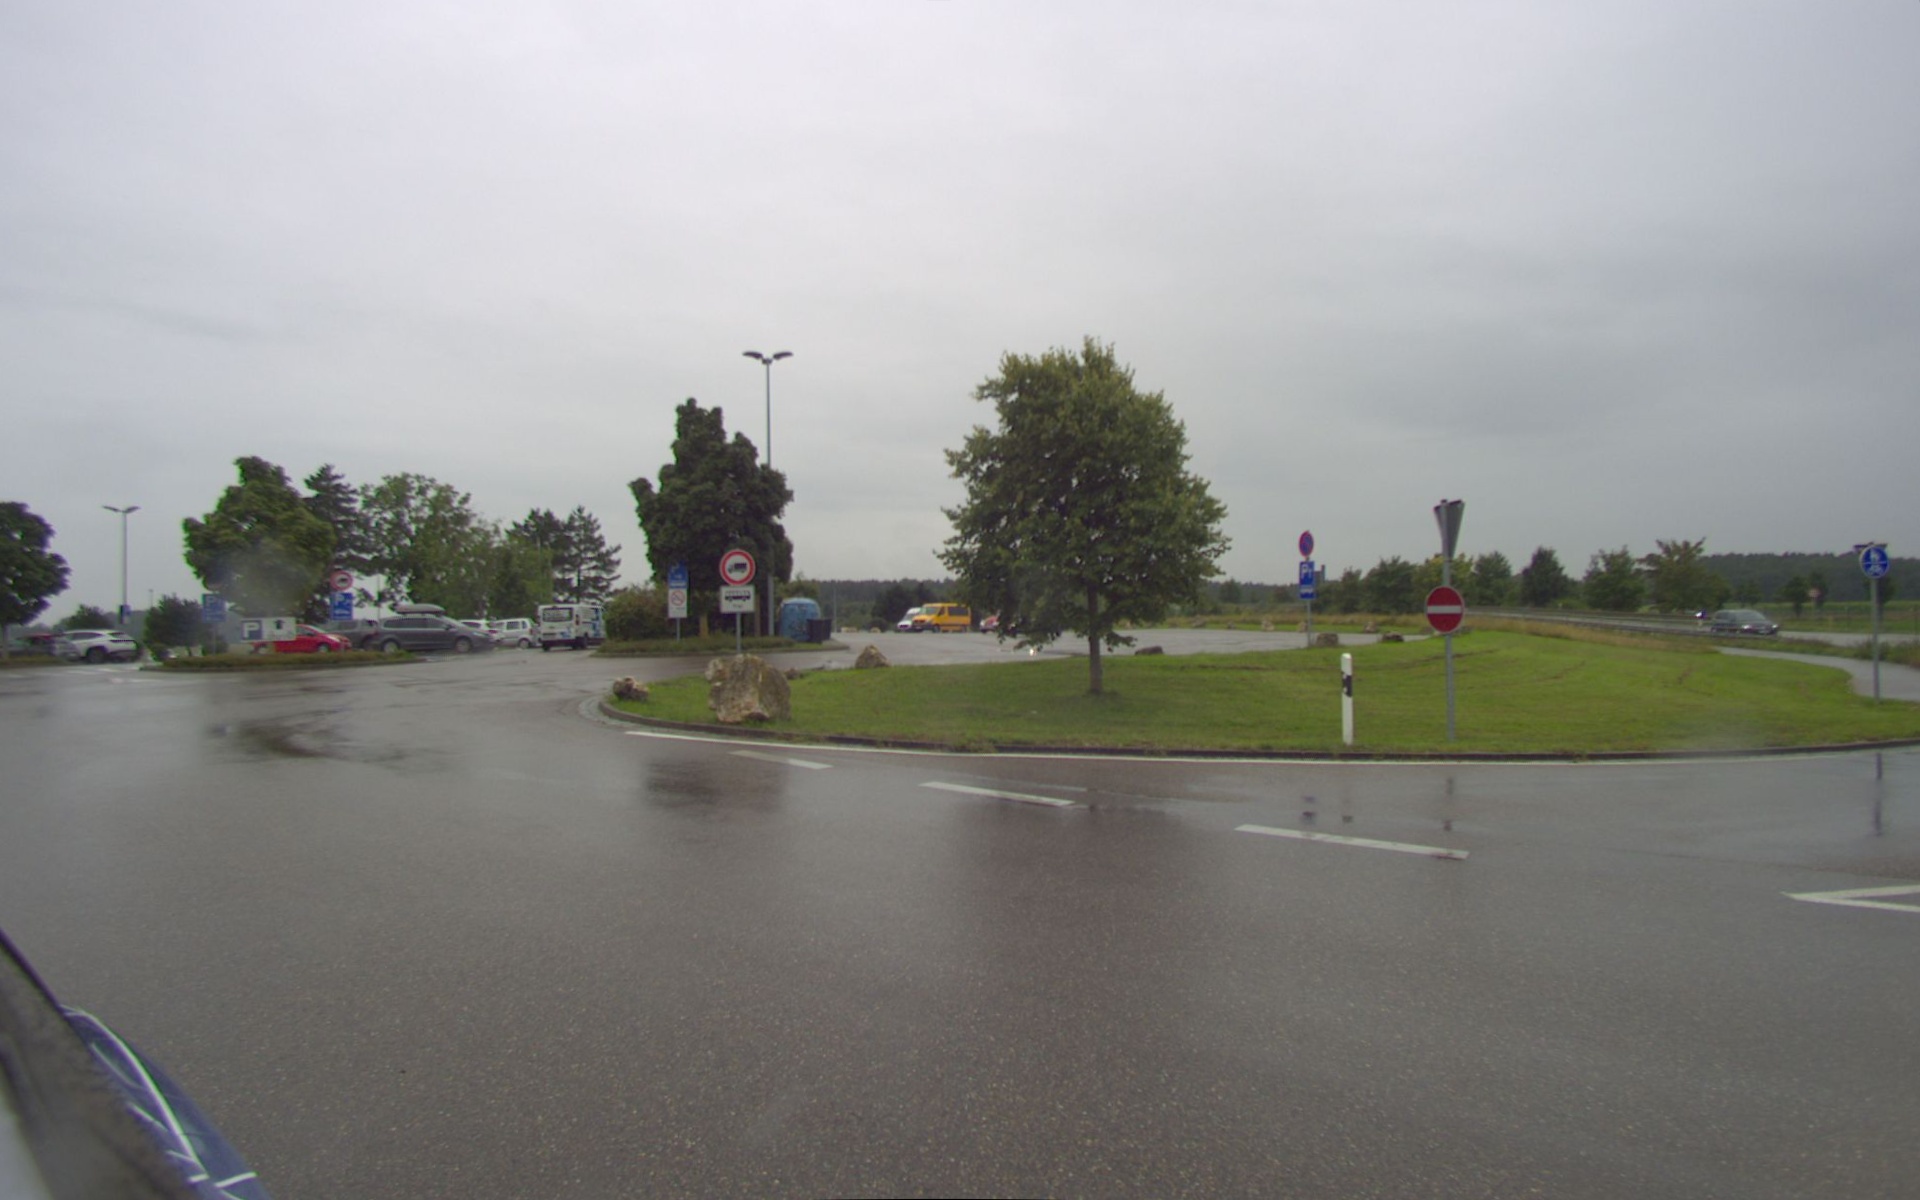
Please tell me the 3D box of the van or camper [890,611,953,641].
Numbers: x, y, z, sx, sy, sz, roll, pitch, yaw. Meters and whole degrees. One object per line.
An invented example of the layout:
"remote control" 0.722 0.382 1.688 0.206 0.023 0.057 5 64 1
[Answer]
"van or camper" -3.521 2.391 94.353 1.995 2.736 6.985 1 -1 35

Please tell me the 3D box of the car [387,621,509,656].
"car" -23.648 1.776 46.880 4.691 1.483 1.890 -1 -1 -9

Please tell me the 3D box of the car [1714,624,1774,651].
"car" 44.816 2.136 57.924 1.575 1.464 3.730 -1 -1 20

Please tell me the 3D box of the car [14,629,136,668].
"car" -41.730 2.269 47.836 3.978 1.706 1.718 -1 -1 -22

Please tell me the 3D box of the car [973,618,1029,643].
"car" 2.649 1.945 64.920 1.547 1.567 4.005 -1 -2 38

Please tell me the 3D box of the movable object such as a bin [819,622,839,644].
"movable object such as a bin" -5.480 1.369 42.409 0.626 0.927 0.553 -1 -2 22

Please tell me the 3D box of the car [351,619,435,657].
"car" -31.816 2.123 56.875 3.722 2.029 1.791 -1 -1 -13

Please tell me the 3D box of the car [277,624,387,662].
"car" -31.557 2.131 50.961 4.328 1.792 1.930 -1 -1 -13

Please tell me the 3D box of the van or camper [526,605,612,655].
"van or camper" -17.566 1.288 45.775 2.162 1.959 5.202 0 1 -3

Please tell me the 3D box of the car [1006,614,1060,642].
"car" 4.035 1.534 55.454 1.768 1.444 4.047 -1 -1 23

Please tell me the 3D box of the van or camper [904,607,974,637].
"van or camper" -1.571 1.686 78.189 2.130 2.264 6.342 -1 -2 35

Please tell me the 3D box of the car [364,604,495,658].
"car" -23.040 1.314 44.126 4.691 2.205 2.004 -1 -1 -10

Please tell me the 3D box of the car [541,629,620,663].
"car" -25.480 3.055 68.108 4.691 2.097 2.004 -1 -1 -10

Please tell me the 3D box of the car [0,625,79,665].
"car" -41.909 1.990 44.855 3.984 1.706 1.803 -1 -1 -8

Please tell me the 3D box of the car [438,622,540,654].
"car" -25.452 2.050 54.840 4.691 1.599 2.004 -1 -1 -10

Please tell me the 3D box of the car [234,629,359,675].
"car" -29.942 2.311 45.802 4.328 1.899 1.930 -1 -1 -13
